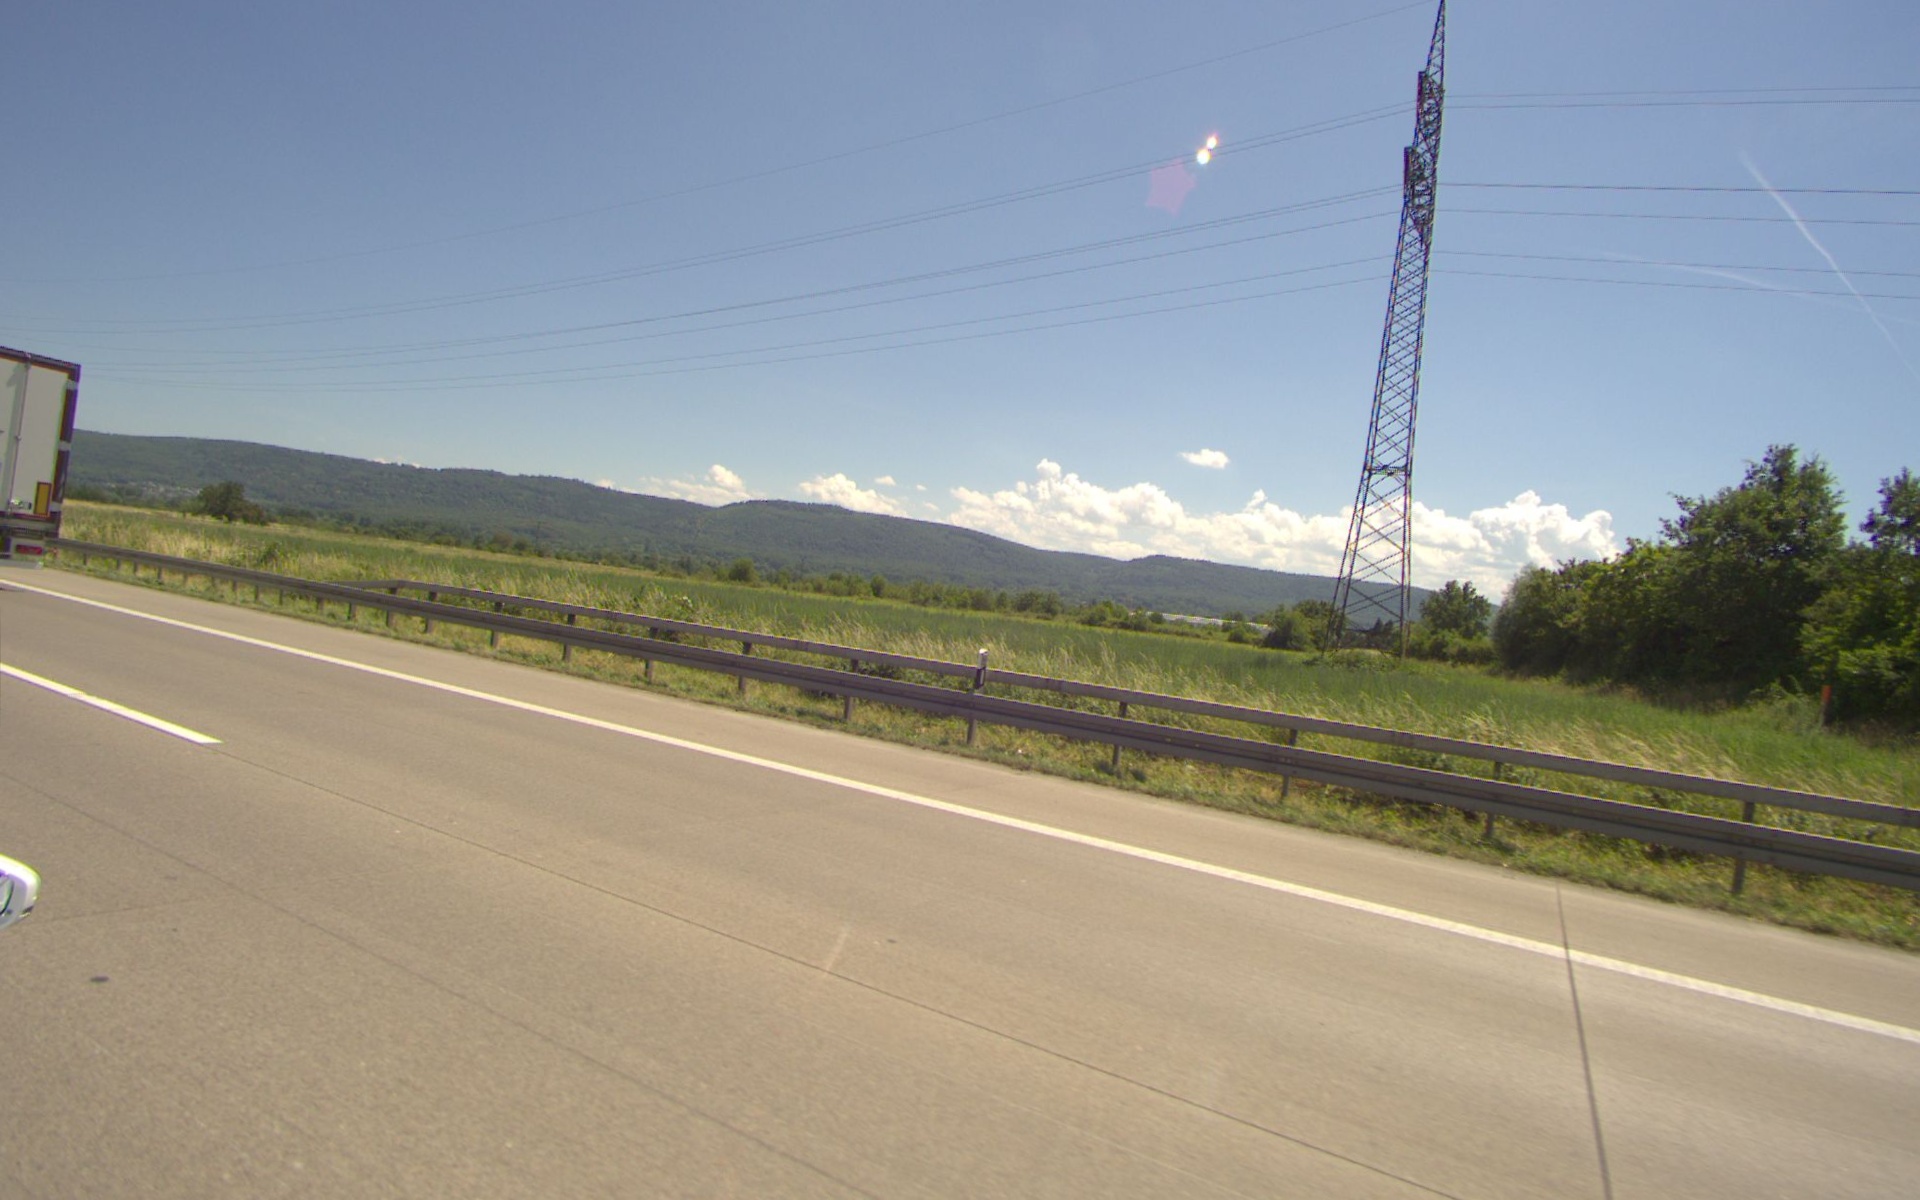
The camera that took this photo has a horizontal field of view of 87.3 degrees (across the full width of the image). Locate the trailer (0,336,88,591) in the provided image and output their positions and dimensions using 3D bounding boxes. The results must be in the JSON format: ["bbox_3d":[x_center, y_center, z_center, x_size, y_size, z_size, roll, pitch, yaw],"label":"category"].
[{"bbox_3d":[-21.513,-2.910,19.525,12.685,4.090,2.715,6,-2,31],"label":"trailer"}]
